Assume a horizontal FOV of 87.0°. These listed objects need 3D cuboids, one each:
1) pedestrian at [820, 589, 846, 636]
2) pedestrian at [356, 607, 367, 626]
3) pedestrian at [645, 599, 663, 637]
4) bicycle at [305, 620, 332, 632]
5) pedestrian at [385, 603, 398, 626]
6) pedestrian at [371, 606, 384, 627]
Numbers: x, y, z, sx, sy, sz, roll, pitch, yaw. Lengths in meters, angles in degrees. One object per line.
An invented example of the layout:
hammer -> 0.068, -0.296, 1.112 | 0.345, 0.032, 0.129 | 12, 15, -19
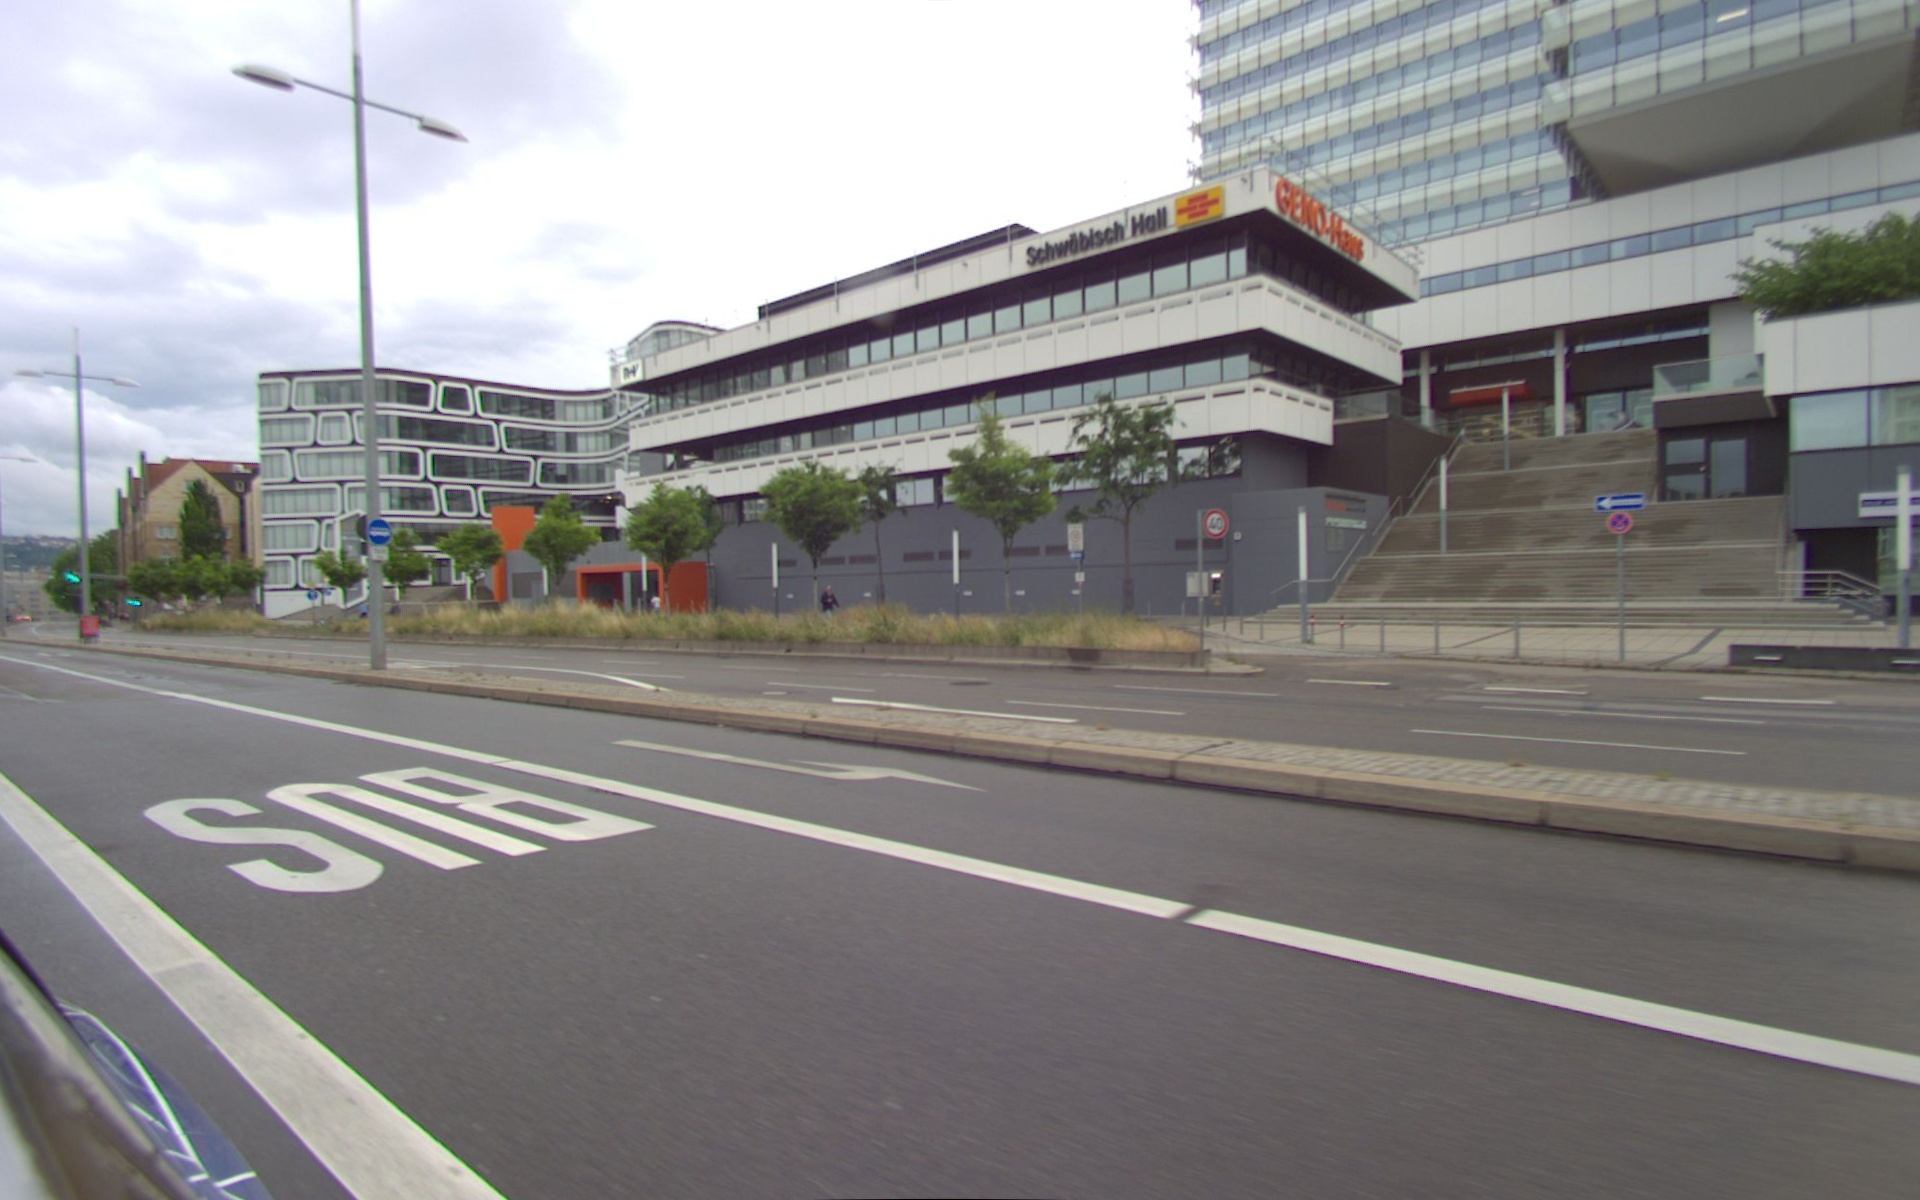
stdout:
pedestrian -> -4.952, 0.484, 39.487 | 0.628, 1.821, 0.776 | 0, 1, 42
pedestrian -> -50.027, 1.371, 84.560 | 0.603, 1.623, 0.640 | -3, 2, -45
pedestrian -> -15.259, 0.888, 50.413 | 0.628, 1.821, 0.623 | 0, 1, 42
bicycle -> -46.050, 1.875, 72.629 | 1.638, 0.864, 0.608 | 0, 1, 9
pedestrian -> -41.487, 1.035, 73.861 | 0.798, 1.670, 0.611 | 0, -1, 43
pedestrian -> -42.050, 1.179, 73.030 | 0.798, 1.457, 0.611 | 0, 1, 43
